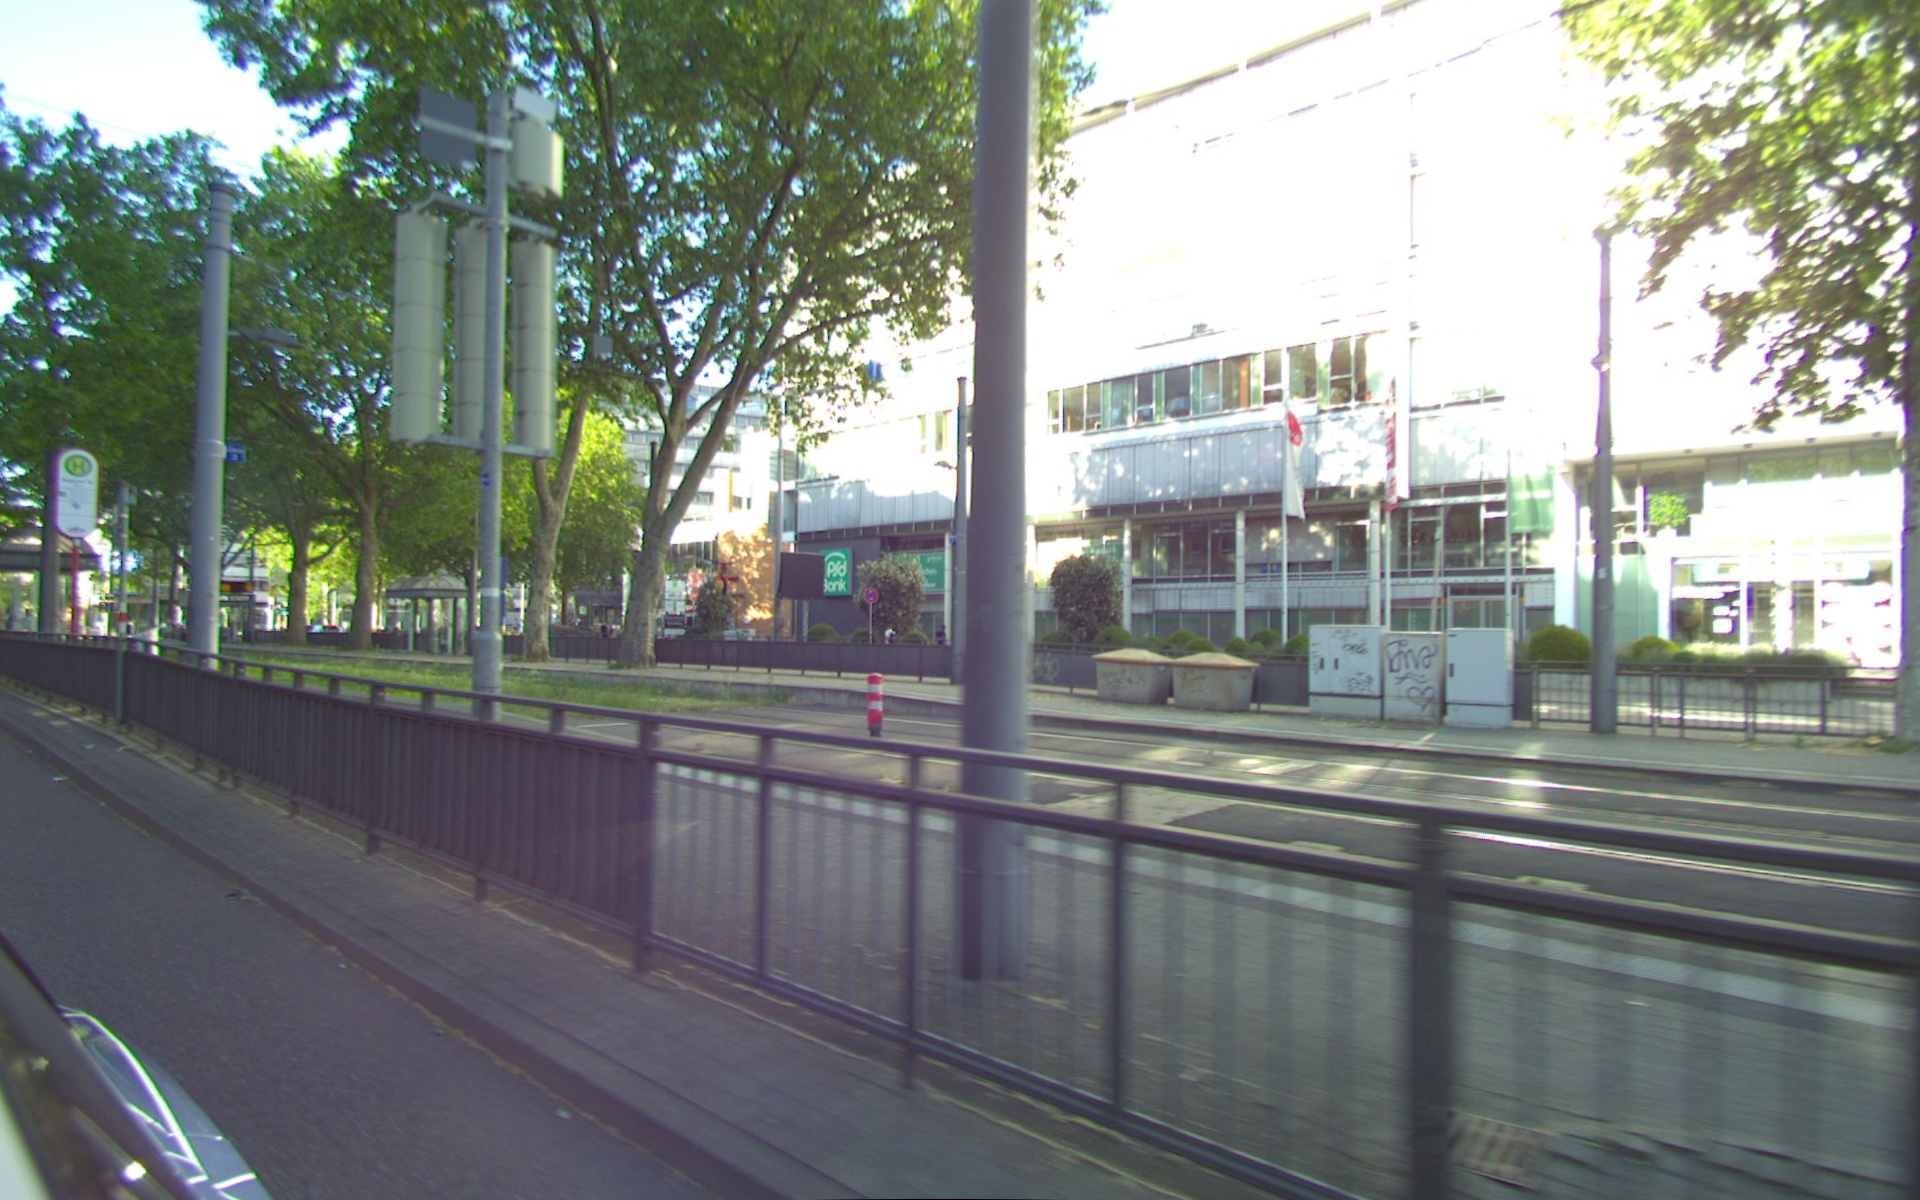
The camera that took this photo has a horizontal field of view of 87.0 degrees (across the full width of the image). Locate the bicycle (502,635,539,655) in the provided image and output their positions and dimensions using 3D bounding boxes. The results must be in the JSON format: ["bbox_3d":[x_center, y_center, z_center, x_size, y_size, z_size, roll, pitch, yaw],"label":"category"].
[{"bbox_3d":[-23.298,2.371,53.617,2.584,1.004,0.792,-2,-1,41],"label":"bicycle"}]

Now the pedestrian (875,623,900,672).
[{"bbox_3d":[-3.012,1.977,42.198,0.833,1.991,0.599,-2,-1,39],"label":"pedestrian"}]

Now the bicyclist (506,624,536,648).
[{"bbox_3d":[-23.254,1.896,53.593,1.373,1.259,0.994,-2,-1,41],"label":"bicyclist"}]

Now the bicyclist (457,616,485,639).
[{"bbox_3d":[-28.131,1.579,58.193,1.373,1.259,0.994,-2,-1,39],"label":"bicyclist"}]

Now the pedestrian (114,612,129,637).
[{"bbox_3d":[-59.556,1.740,71.890,0.674,1.767,0.649,-1,-2,33],"label":"pedestrian"}]

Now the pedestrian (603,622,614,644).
[{"bbox_3d":[-26.438,2.462,76.140,0.571,1.616,0.598,1,-2,-43],"label":"pedestrian"}]

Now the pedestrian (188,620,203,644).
[{"bbox_3d":[-46.769,1.950,61.909,0.606,1.497,0.565,-1,-2,30],"label":"pedestrian"}]

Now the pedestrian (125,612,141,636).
[{"bbox_3d":[-59.158,1.736,72.353,0.697,1.709,0.678,-1,-2,33],"label":"pedestrian"}]

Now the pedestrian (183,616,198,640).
[{"bbox_3d":[-47.295,1.716,62.211,0.549,1.509,0.548,-1,-2,30],"label":"pedestrian"}]

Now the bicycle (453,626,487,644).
[{"bbox_3d":[-28.164,2.015,58.160,2.583,1.004,0.792,-2,-1,40],"label":"bicycle"}]

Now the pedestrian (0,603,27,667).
[{"bbox_3d":[-28.155,1.032,30.005,0.753,1.886,0.638,-1,-2,42],"label":"pedestrian"}]

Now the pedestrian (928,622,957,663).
[{"bbox_3d":[-0.720,1.716,41.024,0.767,1.604,0.896,-1,-3,41],"label":"pedestrian"}]

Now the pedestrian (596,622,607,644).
[{"bbox_3d":[-26.879,2.460,75.804,0.571,1.616,0.580,1,-2,-43],"label":"pedestrian"}]

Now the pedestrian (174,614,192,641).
[{"bbox_3d":[-49.020,1.722,63.872,0.667,1.654,0.662,0,-2,30],"label":"pedestrian"}]

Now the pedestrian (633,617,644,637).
[{"bbox_3d":[-26.166,2.227,82.416,0.597,1.616,0.572,-1,-2,41],"label":"pedestrian"}]
